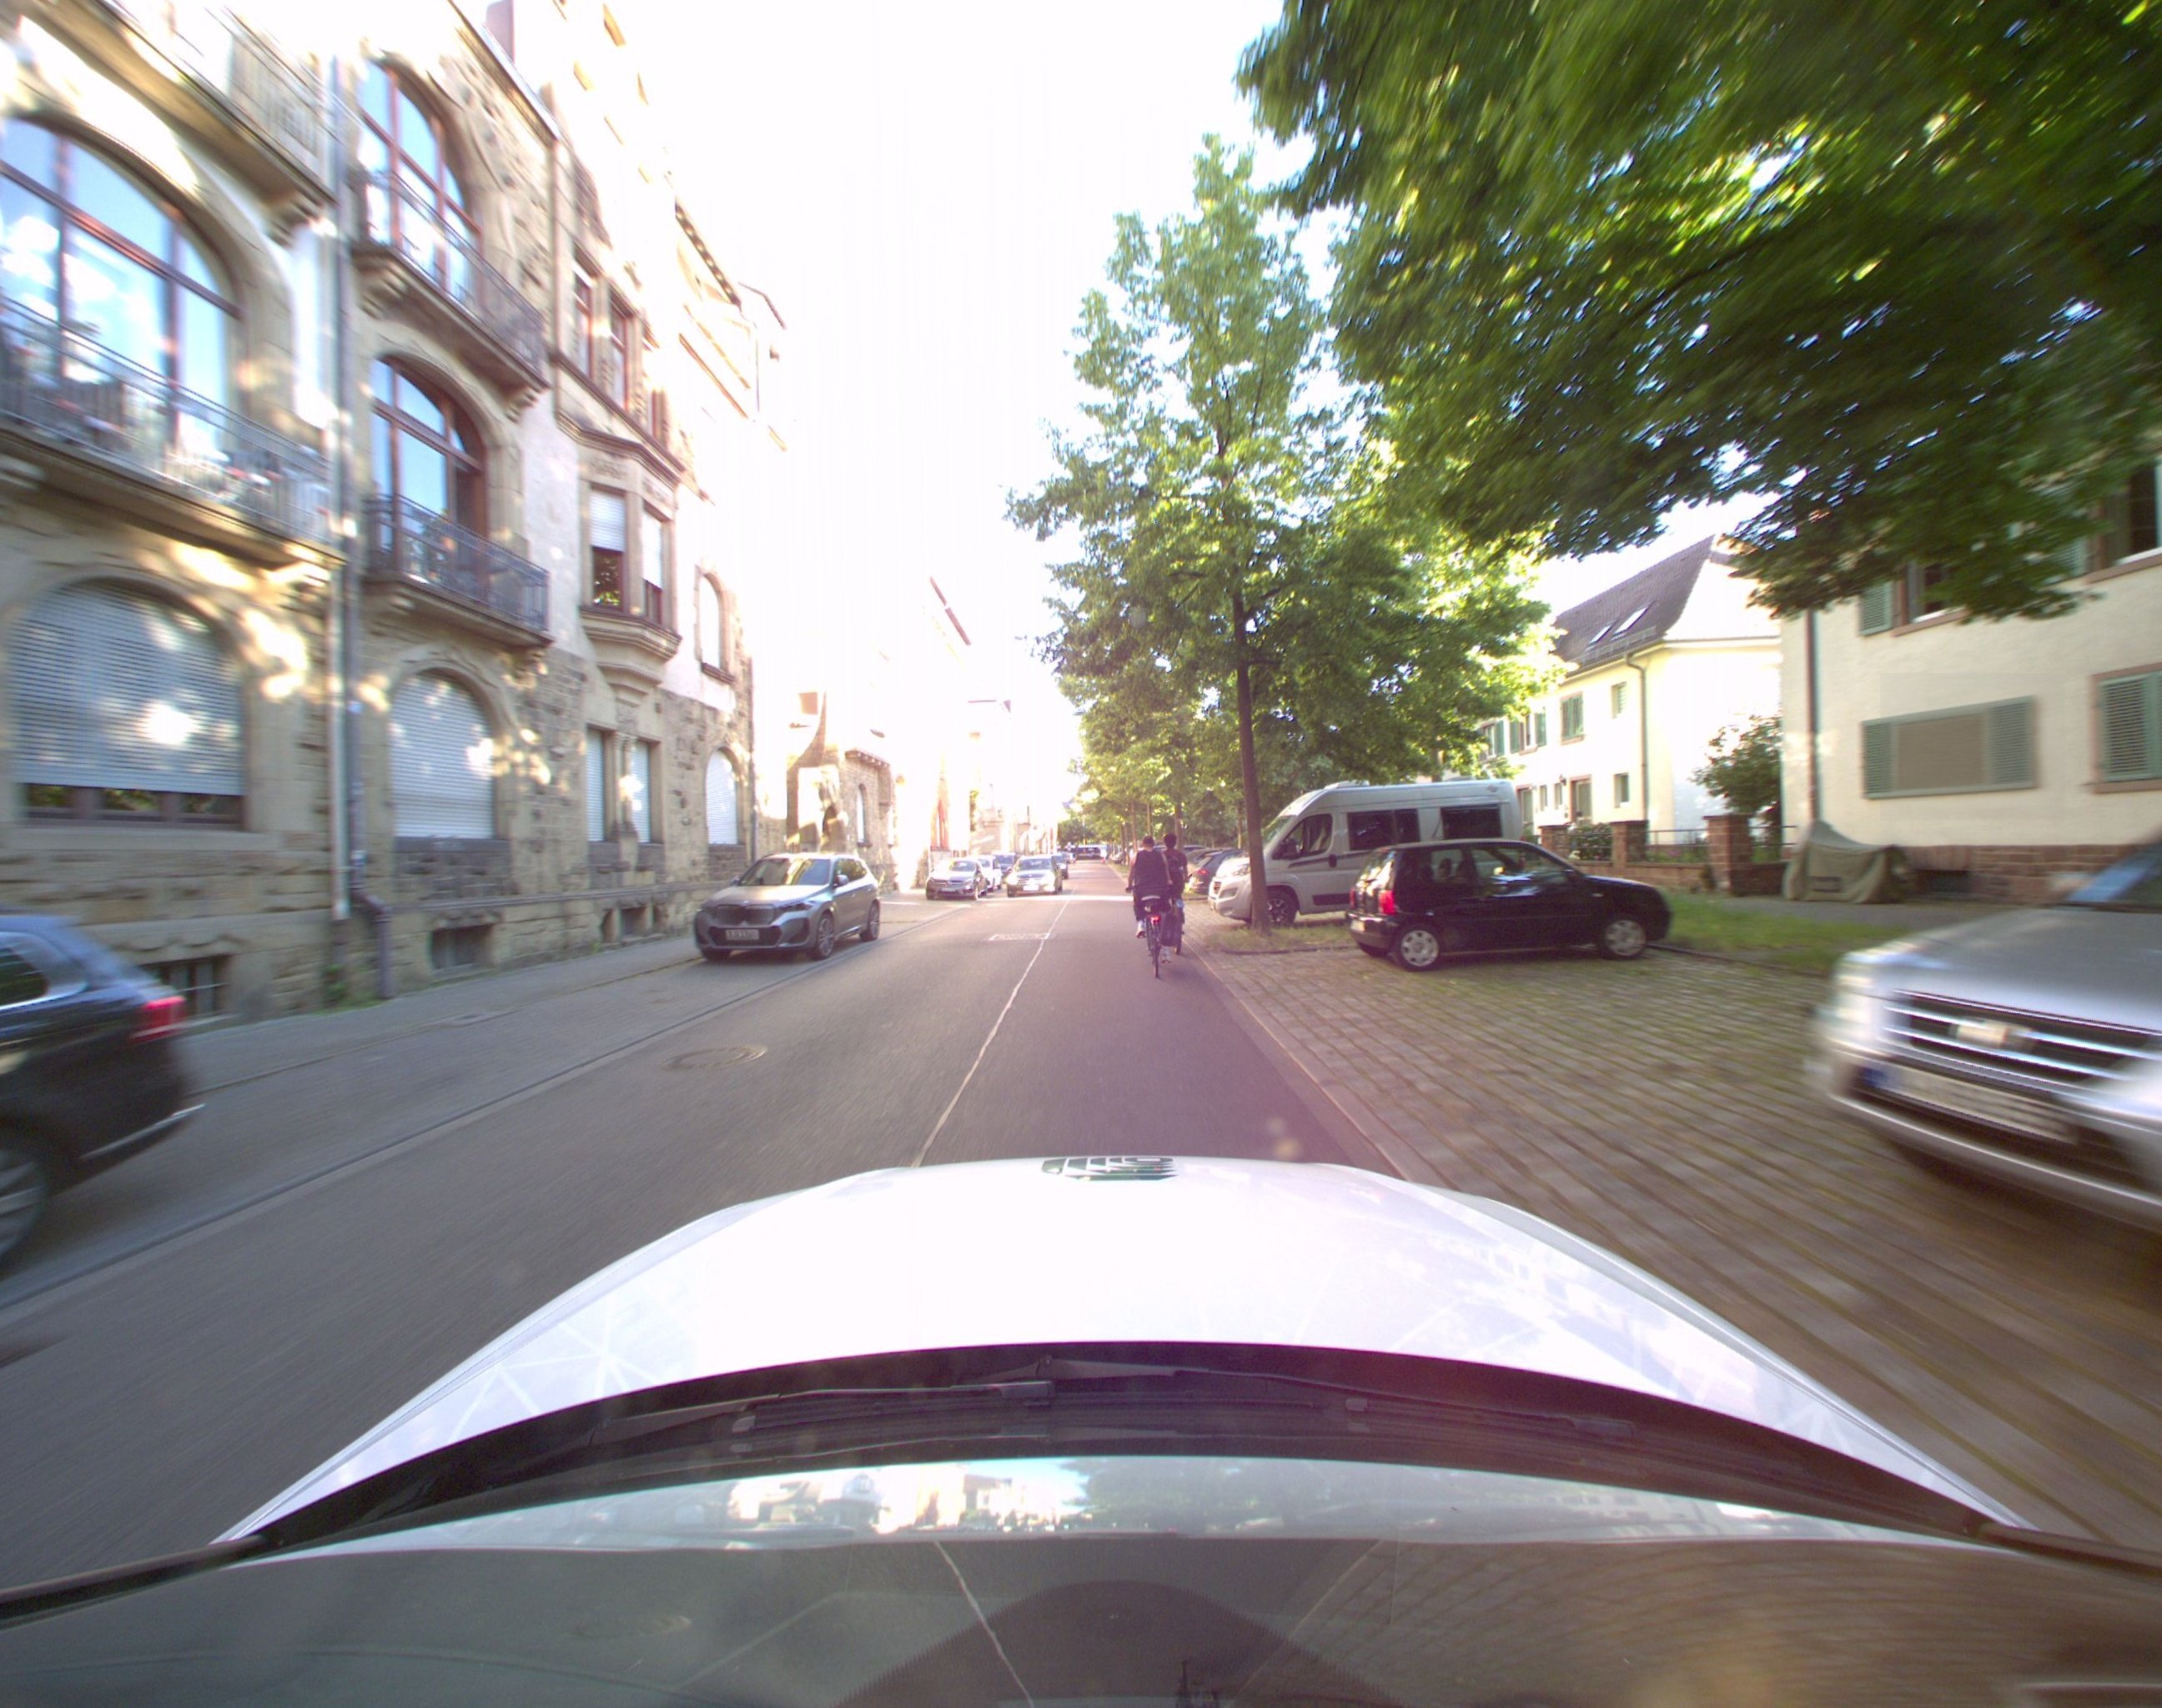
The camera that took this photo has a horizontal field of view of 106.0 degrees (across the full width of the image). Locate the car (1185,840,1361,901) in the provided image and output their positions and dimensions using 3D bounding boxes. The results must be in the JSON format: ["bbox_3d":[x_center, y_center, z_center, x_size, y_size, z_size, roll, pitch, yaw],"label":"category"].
[{"bbox_3d":[5.262,0.458,22.724,4.485,1.453,1.817,-2,-1,2],"label":"car"}]

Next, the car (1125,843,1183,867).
[{"bbox_3d":[6.074,0.114,68.204,4.739,1.780,1.855,-3,-1,2],"label":"car"}]

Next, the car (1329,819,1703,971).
[{"bbox_3d":[4.995,0.455,9.727,3.490,1.472,1.751,-3,-1,0],"label":"car"}]

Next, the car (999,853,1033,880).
[{"bbox_3d":[-3.939,0.753,50.040,1.610,1.482,4.019,2,0,1],"label":"car"}]

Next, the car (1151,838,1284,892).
[{"bbox_3d":[4.681,0.376,28.290,4.232,1.606,1.752,-3,-1,-2],"label":"car"}]

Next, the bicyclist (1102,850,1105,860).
[{"bbox_3d":[2.966,0.118,107.293,0.415,1.350,0.430,-2,-1,1],"label":"bicyclist"}]

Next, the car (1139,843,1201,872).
[{"bbox_3d":[6.288,0.263,57.989,4.227,1.797,1.855,-3,-1,2],"label":"car"}]

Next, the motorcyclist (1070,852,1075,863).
[{"bbox_3d":[-1.097,0.447,104.316,0.549,1.448,0.688,-2,0,-2],"label":"motorcyclist"}]

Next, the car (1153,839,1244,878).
[{"bbox_3d":[5.743,0.221,40.165,4.227,1.647,1.855,-3,-1,2],"label":"car"}]

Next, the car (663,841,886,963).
[{"bbox_3d":[-4.760,0.702,13.446,2.044,1.622,4.393,-2,-1,-1],"label":"car"}]

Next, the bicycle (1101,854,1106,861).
[{"bbox_3d":[2.963,0.457,107.267,0.539,0.828,1.919,-1,-1,1],"label":"bicycle"}]

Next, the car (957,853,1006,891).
[{"bbox_3d":[-4.230,0.750,35.109,1.486,1.517,3.775,2,0,1],"label":"car"}]

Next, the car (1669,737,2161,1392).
[{"bbox_3d":[4.925,0.369,2.740,4.463,1.669,1.942,-4,1,-1],"label":"car"}]

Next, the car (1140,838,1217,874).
[{"bbox_3d":[5.661,0.131,47.578,4.227,1.840,1.855,-3,-1,2],"label":"car"}]

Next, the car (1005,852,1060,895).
[{"bbox_3d":[-1.782,0.724,31.055,1.892,1.486,4.378,-2,-1,-2],"label":"car"}]

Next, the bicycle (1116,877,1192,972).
[{"bbox_3d":[0.898,0.851,10.561,0.694,1.073,1.966,-1,-1,-3],"label":"bicycle"}]

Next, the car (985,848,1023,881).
[{"bbox_3d":[-4.183,0.582,44.617,1.625,1.665,3.968,-2,-1,0],"label":"car"}]

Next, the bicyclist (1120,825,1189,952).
[{"bbox_3d":[0.922,0.429,10.427,0.704,1.527,0.971,-1,-1,-3],"label":"bicyclist"}]

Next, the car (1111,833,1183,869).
[{"bbox_3d":[6.819,-0.321,84.913,7.305,3.282,2.224,-3,-1,2],"label":"car"}]

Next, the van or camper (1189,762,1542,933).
[{"bbox_3d":[4.995,-0.096,14.971,5.558,2.536,2.267,-4,-1,-1],"label":"van or camper"}]

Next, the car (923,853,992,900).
[{"bbox_3d":[-4.427,0.776,29.757,1.749,1.517,4.115,2,0,1],"label":"car"}]

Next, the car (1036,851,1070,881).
[{"bbox_3d":[-1.694,0.719,49.834,1.761,1.599,4.090,-4,-1,1],"label":"car"}]

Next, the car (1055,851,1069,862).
[{"bbox_3d":[-2.867,0.371,124.942,1.986,1.530,4.001,-1,-1,1],"label":"car"}]

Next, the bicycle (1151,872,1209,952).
[{"bbox_3d":[1.472,0.835,12.444,0.554,1.073,1.967,-2,0,-2],"label":"bicycle"}]

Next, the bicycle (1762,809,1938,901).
[{"bbox_3d":[12.651,0.015,13.500,0.800,1.399,1.996,-2,0,-12],"label":"bicycle"}]

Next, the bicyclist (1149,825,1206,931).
[{"bbox_3d":[1.456,0.356,12.417,0.716,1.527,0.972,-2,-1,0],"label":"bicyclist"}]

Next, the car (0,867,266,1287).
[{"bbox_3d":[-5.000,0.840,1.702,1.722,1.574,4.711,-2,-1,2],"label":"car"}]

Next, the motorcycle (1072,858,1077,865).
[{"bbox_3d":[-0.837,0.971,104.590,0.549,0.801,1.307,-2,0,-1],"label":"motorcycle"}]
